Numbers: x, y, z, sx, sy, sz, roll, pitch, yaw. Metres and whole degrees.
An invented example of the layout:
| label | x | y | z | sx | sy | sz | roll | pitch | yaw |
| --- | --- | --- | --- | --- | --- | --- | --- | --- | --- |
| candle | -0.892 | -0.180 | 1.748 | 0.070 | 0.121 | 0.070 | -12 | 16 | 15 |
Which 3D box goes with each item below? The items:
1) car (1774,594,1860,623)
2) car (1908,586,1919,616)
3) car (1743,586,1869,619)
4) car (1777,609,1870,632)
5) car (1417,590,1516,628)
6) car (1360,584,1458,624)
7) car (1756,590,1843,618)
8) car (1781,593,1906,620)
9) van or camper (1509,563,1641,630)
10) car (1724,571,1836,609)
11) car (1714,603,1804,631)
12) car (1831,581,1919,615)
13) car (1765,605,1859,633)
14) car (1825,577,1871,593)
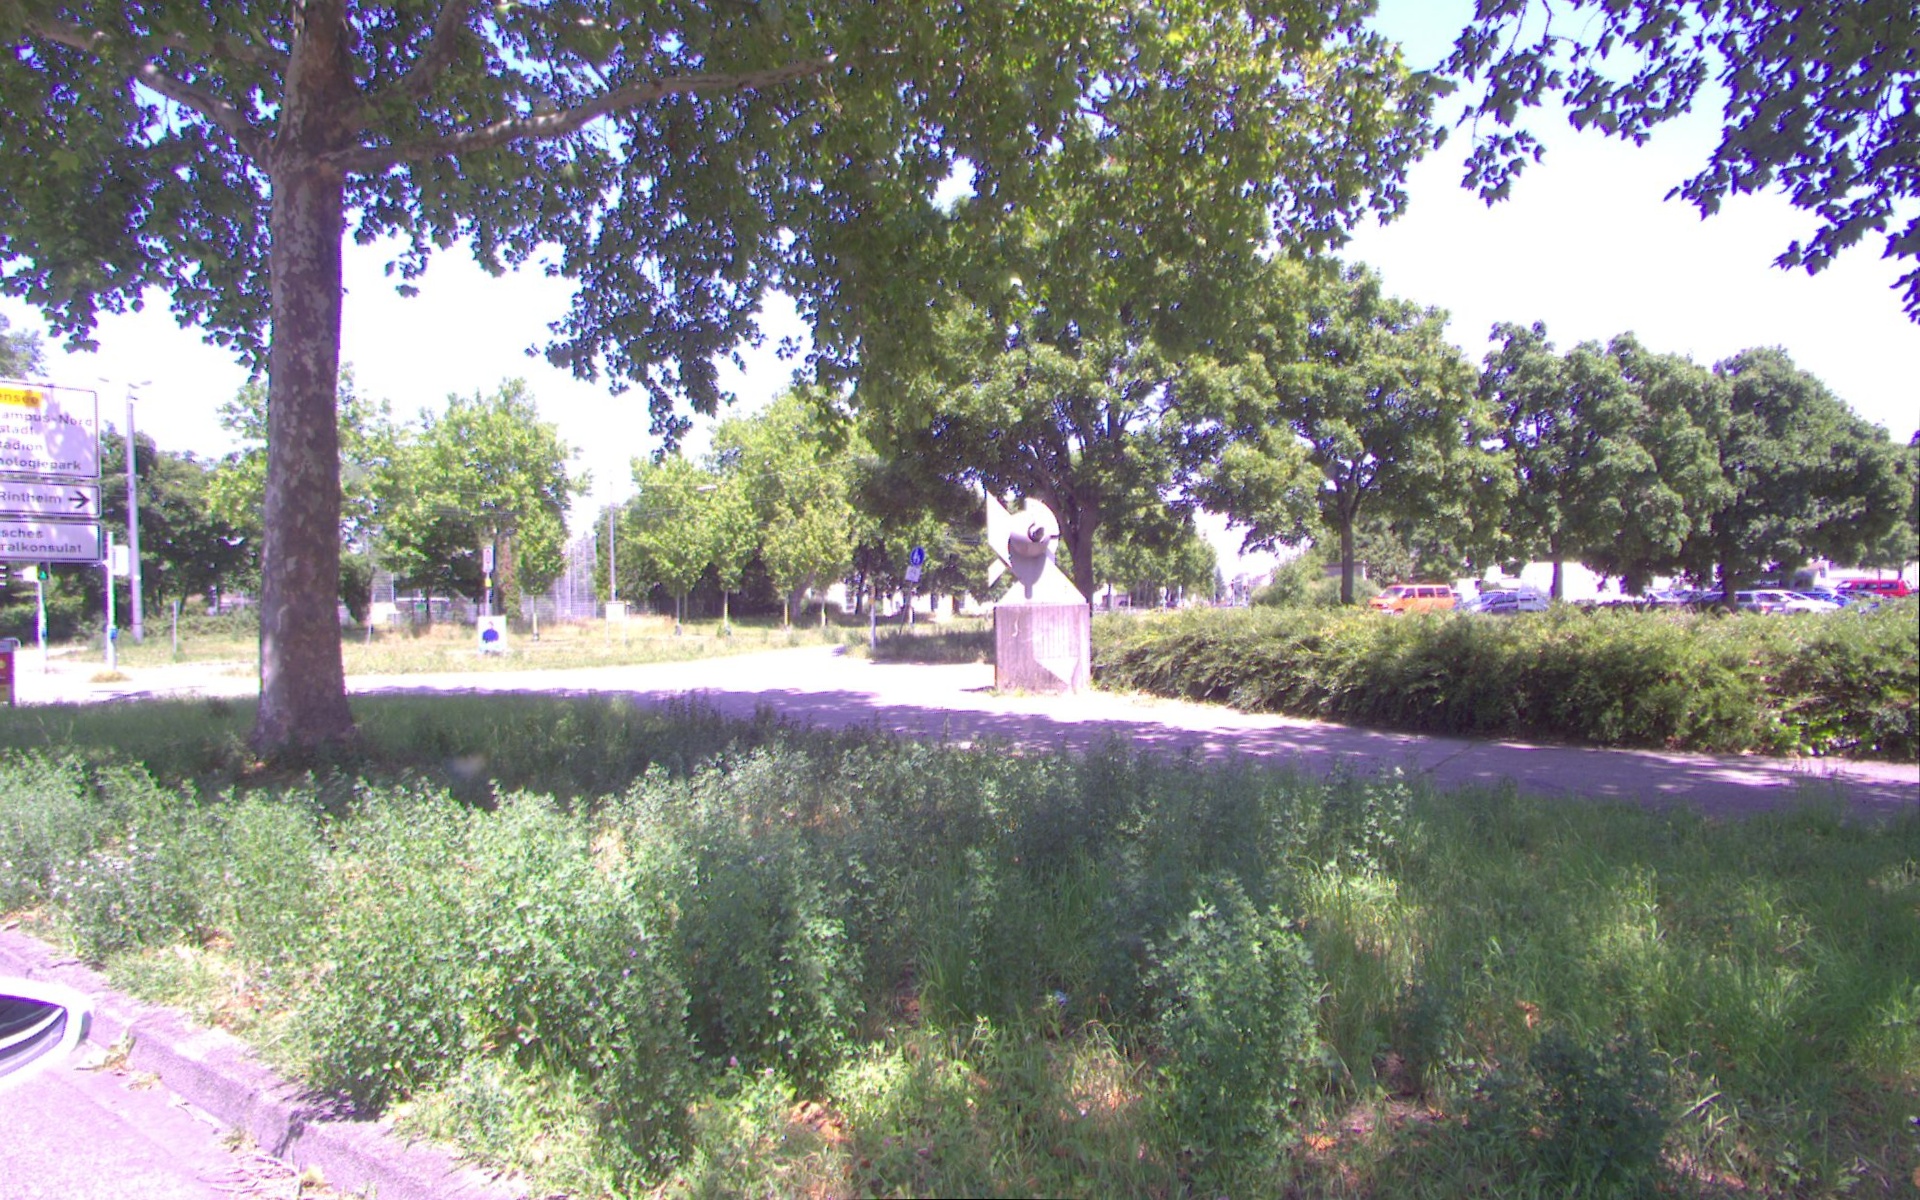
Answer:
| label | x | y | z | sx | sy | sz | roll | pitch | yaw |
| --- | --- | --- | --- | --- | --- | --- | --- | --- | --- |
| car | 35.493 | 0.358 | 41.524 | 0.938 | 1.141 | 2.590 | -1 | 0 | -25 |
| car | 45.009 | 0.025 | 44.800 | 1.690 | 1.384 | 3.414 | -1 | 0 | -25 |
| car | 34.383 | 0.079 | 40.796 | 1.595 | 1.242 | 3.559 | 0 | 1 | -25 |
| car | 33.547 | 0.770 | 38.939 | 0.938 | 0.852 | 2.590 | -1 | 0 | -25 |
| car | 23.928 | 0.406 | 47.323 | 4.000 | 1.741 | 1.952 | -1 | 0 | -18 |
| car | 23.843 | 0.223 | 53.232 | 4.582 | 2.029 | 2.069 | 0 | 0 | -19 |
| car | 34.287 | 0.170 | 40.947 | 0.991 | 1.141 | 2.590 | -1 | 0 | -25 |
| car | 36.715 | 0.290 | 41.702 | 1.655 | 1.048 | 3.553 | -1 | 0 | -25 |
| van or camper | 27.004 | -0.166 | 43.990 | 5.039 | 2.787 | 2.199 | -1 | 0 | -18 |
| car | 46.409 | -0.554 | 56.796 | 2.209 | 2.040 | 4.409 | -1 | 0 | -22 |
| car | 30.783 | 0.641 | 38.619 | 0.938 | 1.050 | 2.590 | -1 | 0 | -25 |
| car | 57.262 | -0.122 | 62.475 | 1.935 | 2.040 | 3.987 | -1 | 0 | -23 |
| car | 32.488 | 0.715 | 38.217 | 0.938 | 1.000 | 2.590 | -1 | 0 | -25 |
| car | 92.710 | -1.558 | 104.597 | 3.309 | 1.639 | 1.439 | -1 | 0 | 19 |
